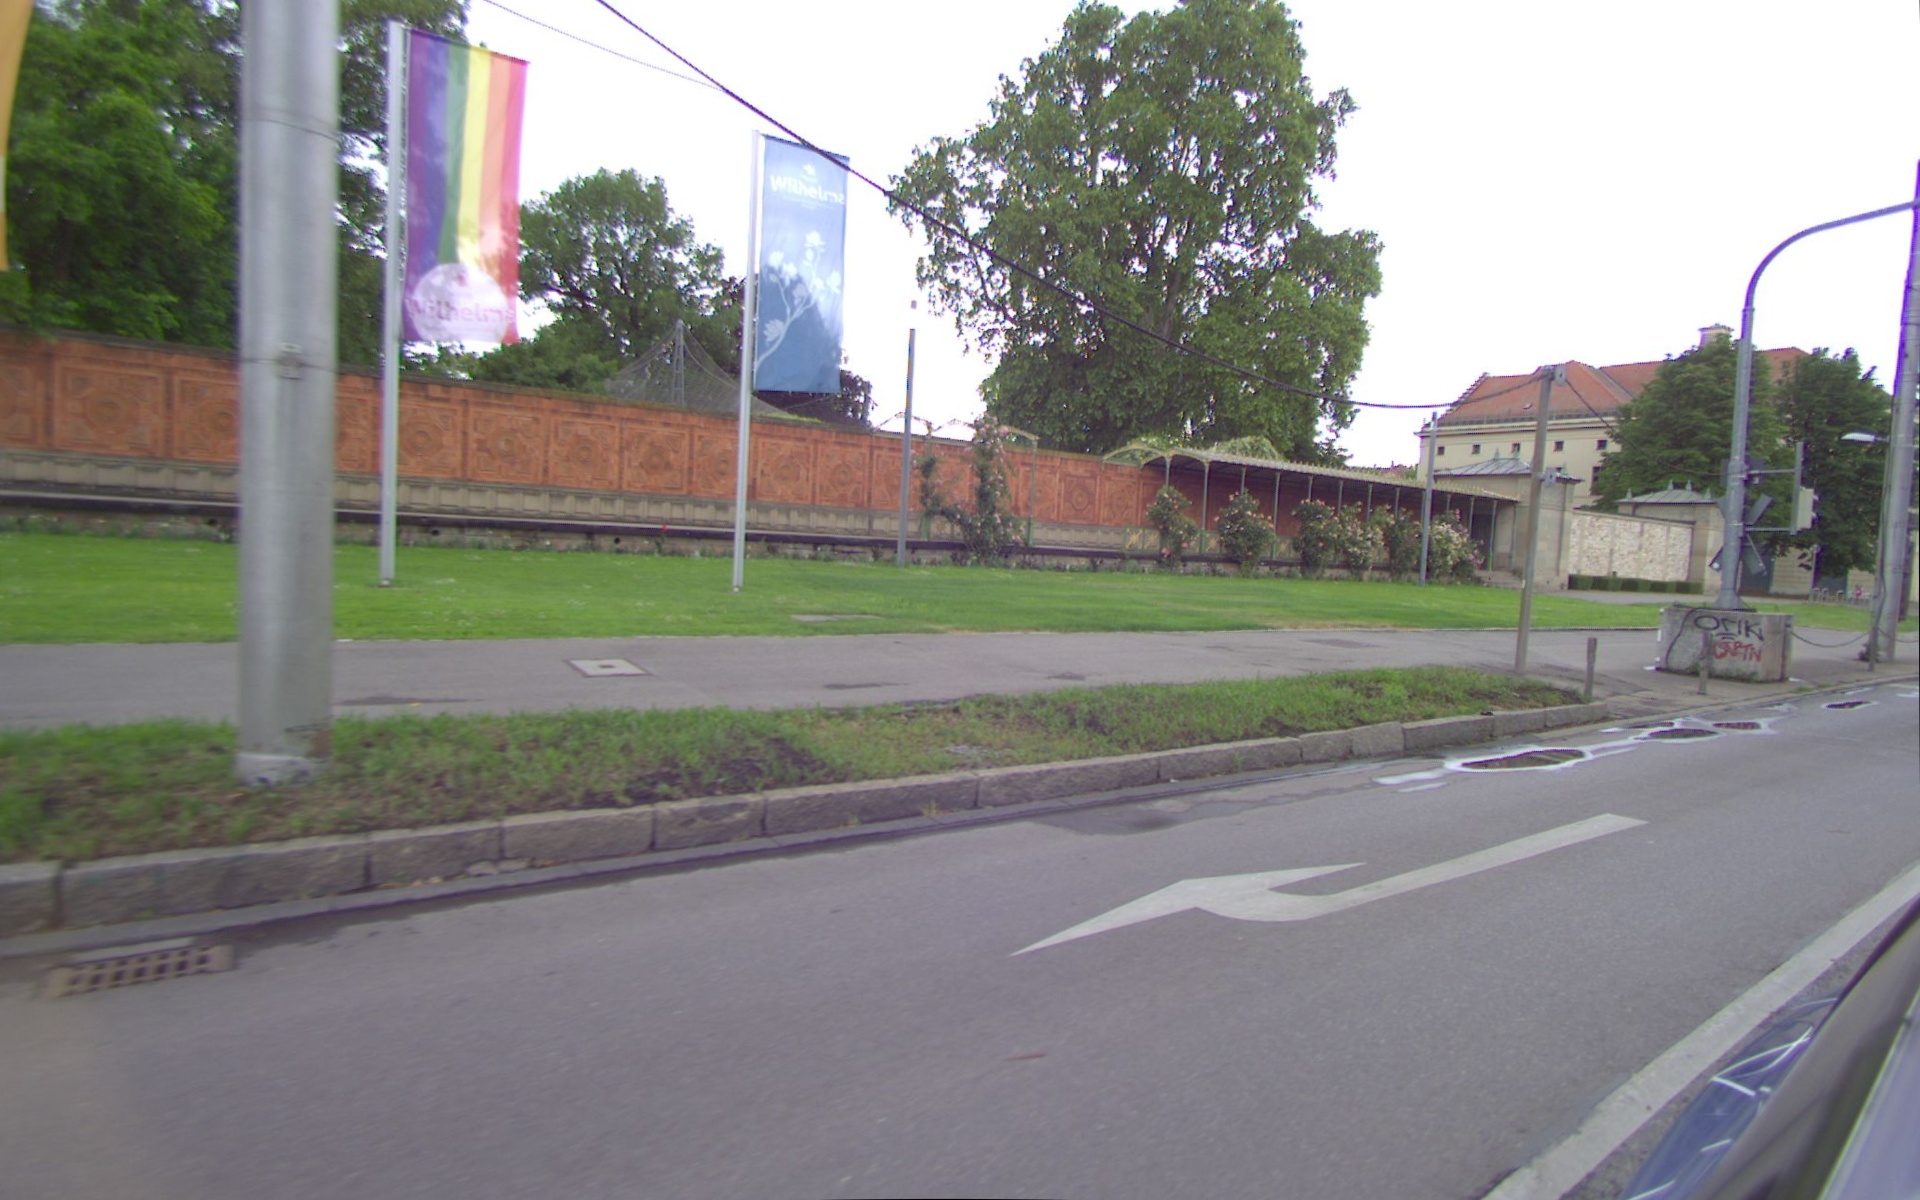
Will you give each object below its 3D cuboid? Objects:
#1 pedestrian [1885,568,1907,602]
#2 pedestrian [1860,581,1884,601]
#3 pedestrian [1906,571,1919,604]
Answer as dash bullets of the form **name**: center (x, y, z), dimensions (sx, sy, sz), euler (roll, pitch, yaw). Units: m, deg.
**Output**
- **pedestrian**: center (50.985, -0.805, 55.137), dimensions (0.793, 1.813, 0.597), euler (0, 4, -35)
- **pedestrian**: center (50.356, -0.502, 55.895), dimensions (0.750, 1.012, 0.593), euler (4, 4, 21)
- **pedestrian**: center (51.456, -0.666, 54.413), dimensions (0.775, 1.719, 0.599), euler (0, 4, -35)
